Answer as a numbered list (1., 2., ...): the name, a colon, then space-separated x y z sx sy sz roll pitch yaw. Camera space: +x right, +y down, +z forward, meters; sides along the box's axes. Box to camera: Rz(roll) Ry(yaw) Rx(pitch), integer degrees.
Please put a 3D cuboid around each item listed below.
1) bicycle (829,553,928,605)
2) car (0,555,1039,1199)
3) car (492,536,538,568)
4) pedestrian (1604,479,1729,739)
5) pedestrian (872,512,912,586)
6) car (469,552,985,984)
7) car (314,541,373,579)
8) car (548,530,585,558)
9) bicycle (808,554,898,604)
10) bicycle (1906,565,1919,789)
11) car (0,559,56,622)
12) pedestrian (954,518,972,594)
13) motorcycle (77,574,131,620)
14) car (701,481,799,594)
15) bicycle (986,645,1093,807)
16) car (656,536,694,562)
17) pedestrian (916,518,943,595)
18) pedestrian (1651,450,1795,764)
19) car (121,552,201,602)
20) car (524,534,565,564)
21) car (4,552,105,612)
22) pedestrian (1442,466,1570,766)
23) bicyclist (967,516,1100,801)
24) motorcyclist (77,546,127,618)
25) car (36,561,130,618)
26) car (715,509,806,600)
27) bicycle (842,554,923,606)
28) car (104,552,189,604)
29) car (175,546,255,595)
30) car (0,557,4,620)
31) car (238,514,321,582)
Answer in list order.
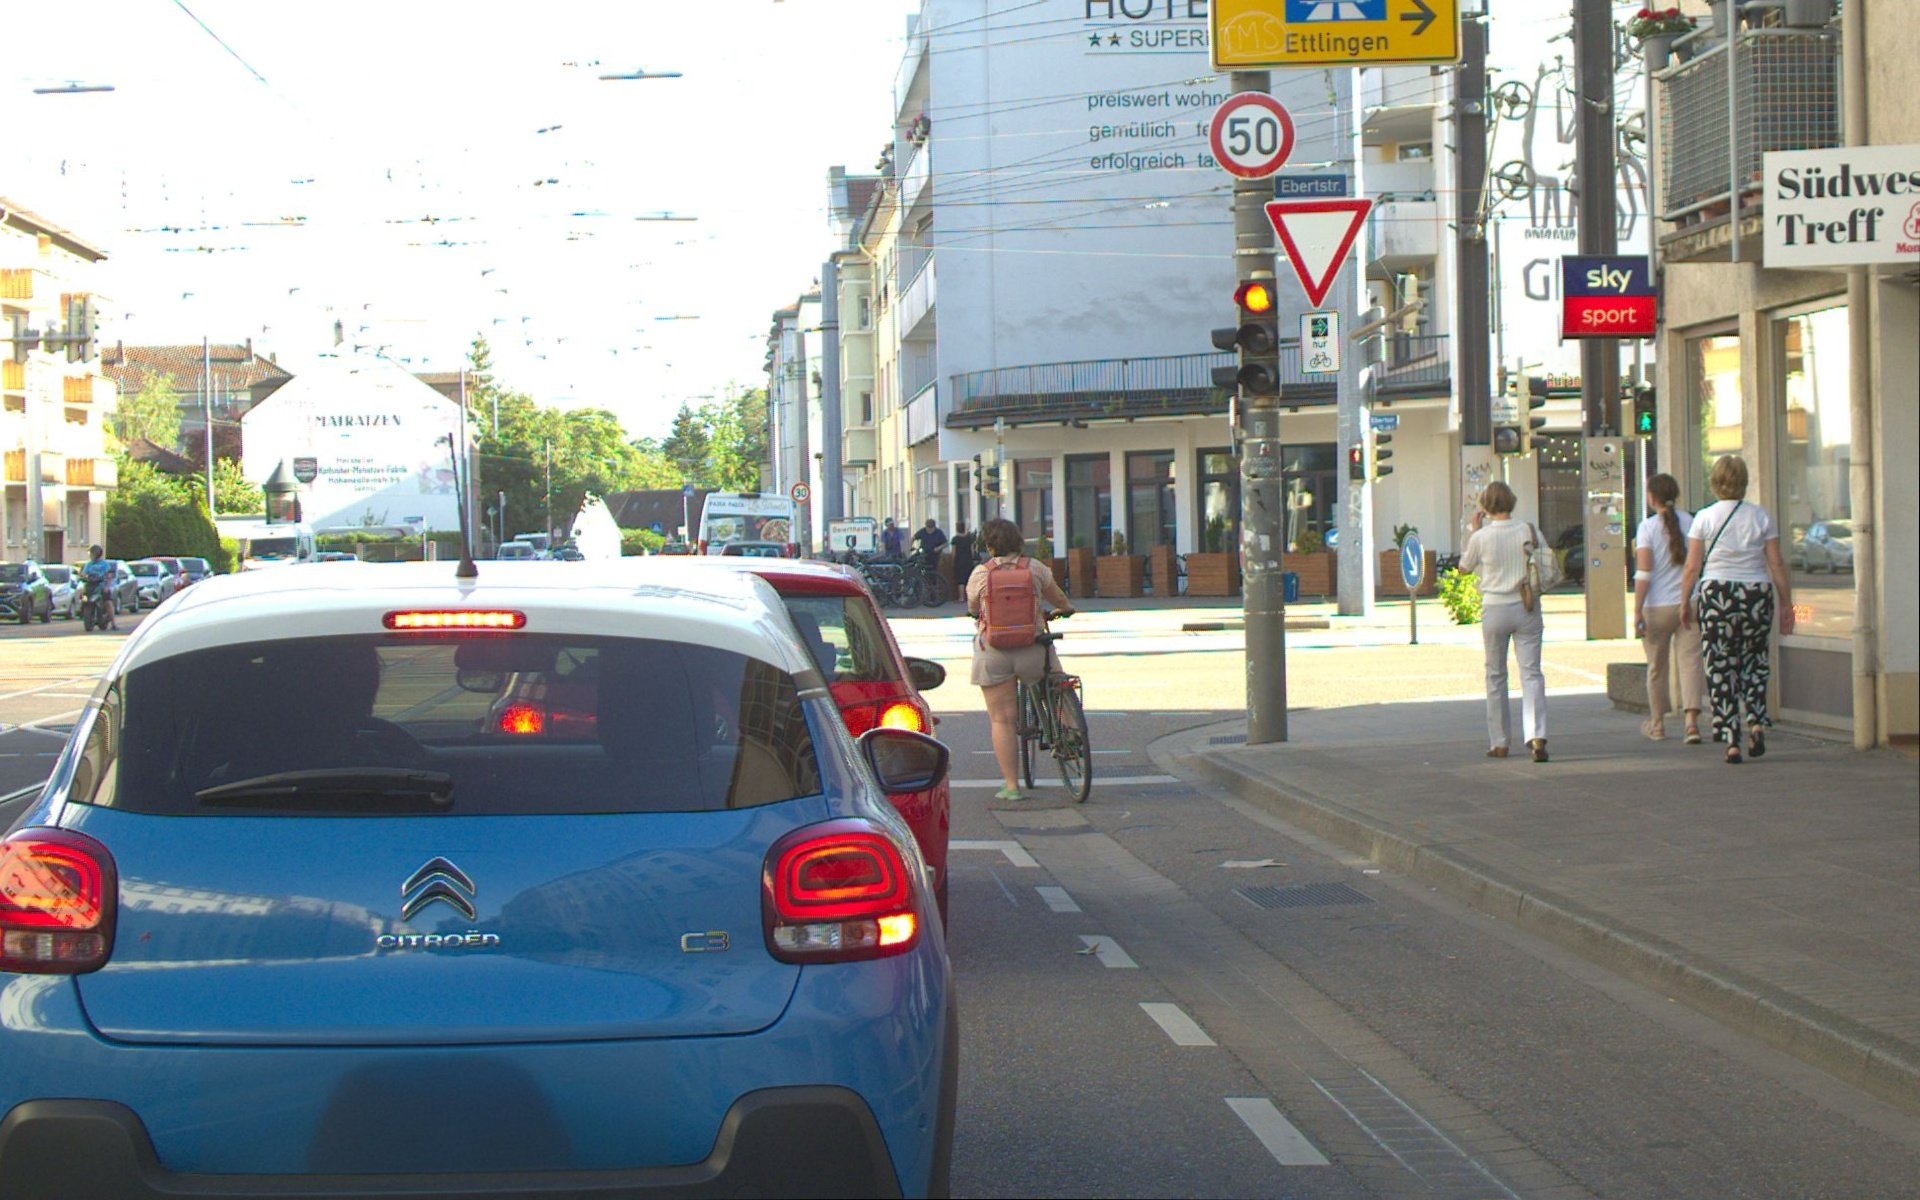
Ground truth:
1. bicycle: -1.583 -0.407 67.099 1.874 0.953 0.702 -1 1 1
2. car: -0.976 0.648 7.159 1.743 1.457 4.001 0 1 -7
3. car: -21.932 -2.383 169.423 2.021 1.520 4.001 -1 1 -5
4. pedestrian: 4.227 0.045 20.596 0.541 1.502 0.611 -3 3 -2
5. pedestrian: -1.451 -1.084 73.393 0.646 1.550 0.493 -2 1 -37
6. car: -0.819 0.548 13.750 1.738 1.415 4.000 -1 1 -1
7. car: -25.951 -1.685 144.771 2.021 1.520 4.001 -1 1 -5
8. car: -24.689 -3.518 215.513 1.993 1.678 4.001 -2 1 -10
9. bicycle: -2.125 -0.421 68.458 1.720 0.953 0.702 -1 1 1
10. bicycle: 4.913 0.380 15.742 0.530 1.068 1.811 -1 1 -4
11. car: -23.954 -0.247 85.987 1.910 1.492 4.001 -1 1 -5
12. pedestrian: 0.066 -0.898 70.186 0.284 1.550 0.305 -2 1 -9
13. motorcycle: -16.755 -0.066 67.314 0.615 0.861 1.671 -1 1 0
14. car: -4.430 -1.306 72.473 1.993 2.317 4.001 0 1 -4
15. bicycle: 0.466 0.739 20.704 0.498 0.861 1.749 -1 1 -3
16. car: -14.610 -2.628 176.306 1.754 1.255 3.833 -1 1 -7
17. pedestrian: -0.627 -0.896 69.953 0.491 1.550 0.384 -1 1 -4
18. pedestrian: 4.185 0.031 18.892 0.541 1.666 0.650 -3 1 -2
19. car: -25.808 -0.760 111.096 1.910 1.492 4.001 -1 1 -5
20. car: -22.642 -2.781 187.260 2.021 1.520 4.001 -2 1 -5
21. car: -24.228 -0.505 92.122 1.910 1.492 4.001 -1 1 -5
22. pedestrian: 3.136 0.079 19.778 0.541 1.666 0.624 -3 3 -2
23. bicyclist: 0.426 0.333 20.338 0.726 1.640 0.790 -1 1 -1
24. motorcyclist: -16.749 -0.350 67.154 0.719 1.373 0.911 -1 1 0
25. car: -24.891 -0.319 97.698 1.910 1.492 4.001 -1 1 -5
26. car: -3.933 -0.892 67.564 1.732 1.744 3.214 0 1 -4
27. bicycle: -1.478 -0.391 66.040 1.504 0.953 0.702 -1 1 1
28. car: -25.078 -0.694 106.097 1.910 1.492 4.001 -1 1 -5
29. car: -26.319 -1.057 121.611 2.030 1.614 4.511 -1 1 -3
30. car: -23.421 -0.210 79.205 1.910 1.492 4.001 -1 1 -5
31. car: -23.603 -1.822 119.403 2.206 2.243 4.678 -1 1 -4
